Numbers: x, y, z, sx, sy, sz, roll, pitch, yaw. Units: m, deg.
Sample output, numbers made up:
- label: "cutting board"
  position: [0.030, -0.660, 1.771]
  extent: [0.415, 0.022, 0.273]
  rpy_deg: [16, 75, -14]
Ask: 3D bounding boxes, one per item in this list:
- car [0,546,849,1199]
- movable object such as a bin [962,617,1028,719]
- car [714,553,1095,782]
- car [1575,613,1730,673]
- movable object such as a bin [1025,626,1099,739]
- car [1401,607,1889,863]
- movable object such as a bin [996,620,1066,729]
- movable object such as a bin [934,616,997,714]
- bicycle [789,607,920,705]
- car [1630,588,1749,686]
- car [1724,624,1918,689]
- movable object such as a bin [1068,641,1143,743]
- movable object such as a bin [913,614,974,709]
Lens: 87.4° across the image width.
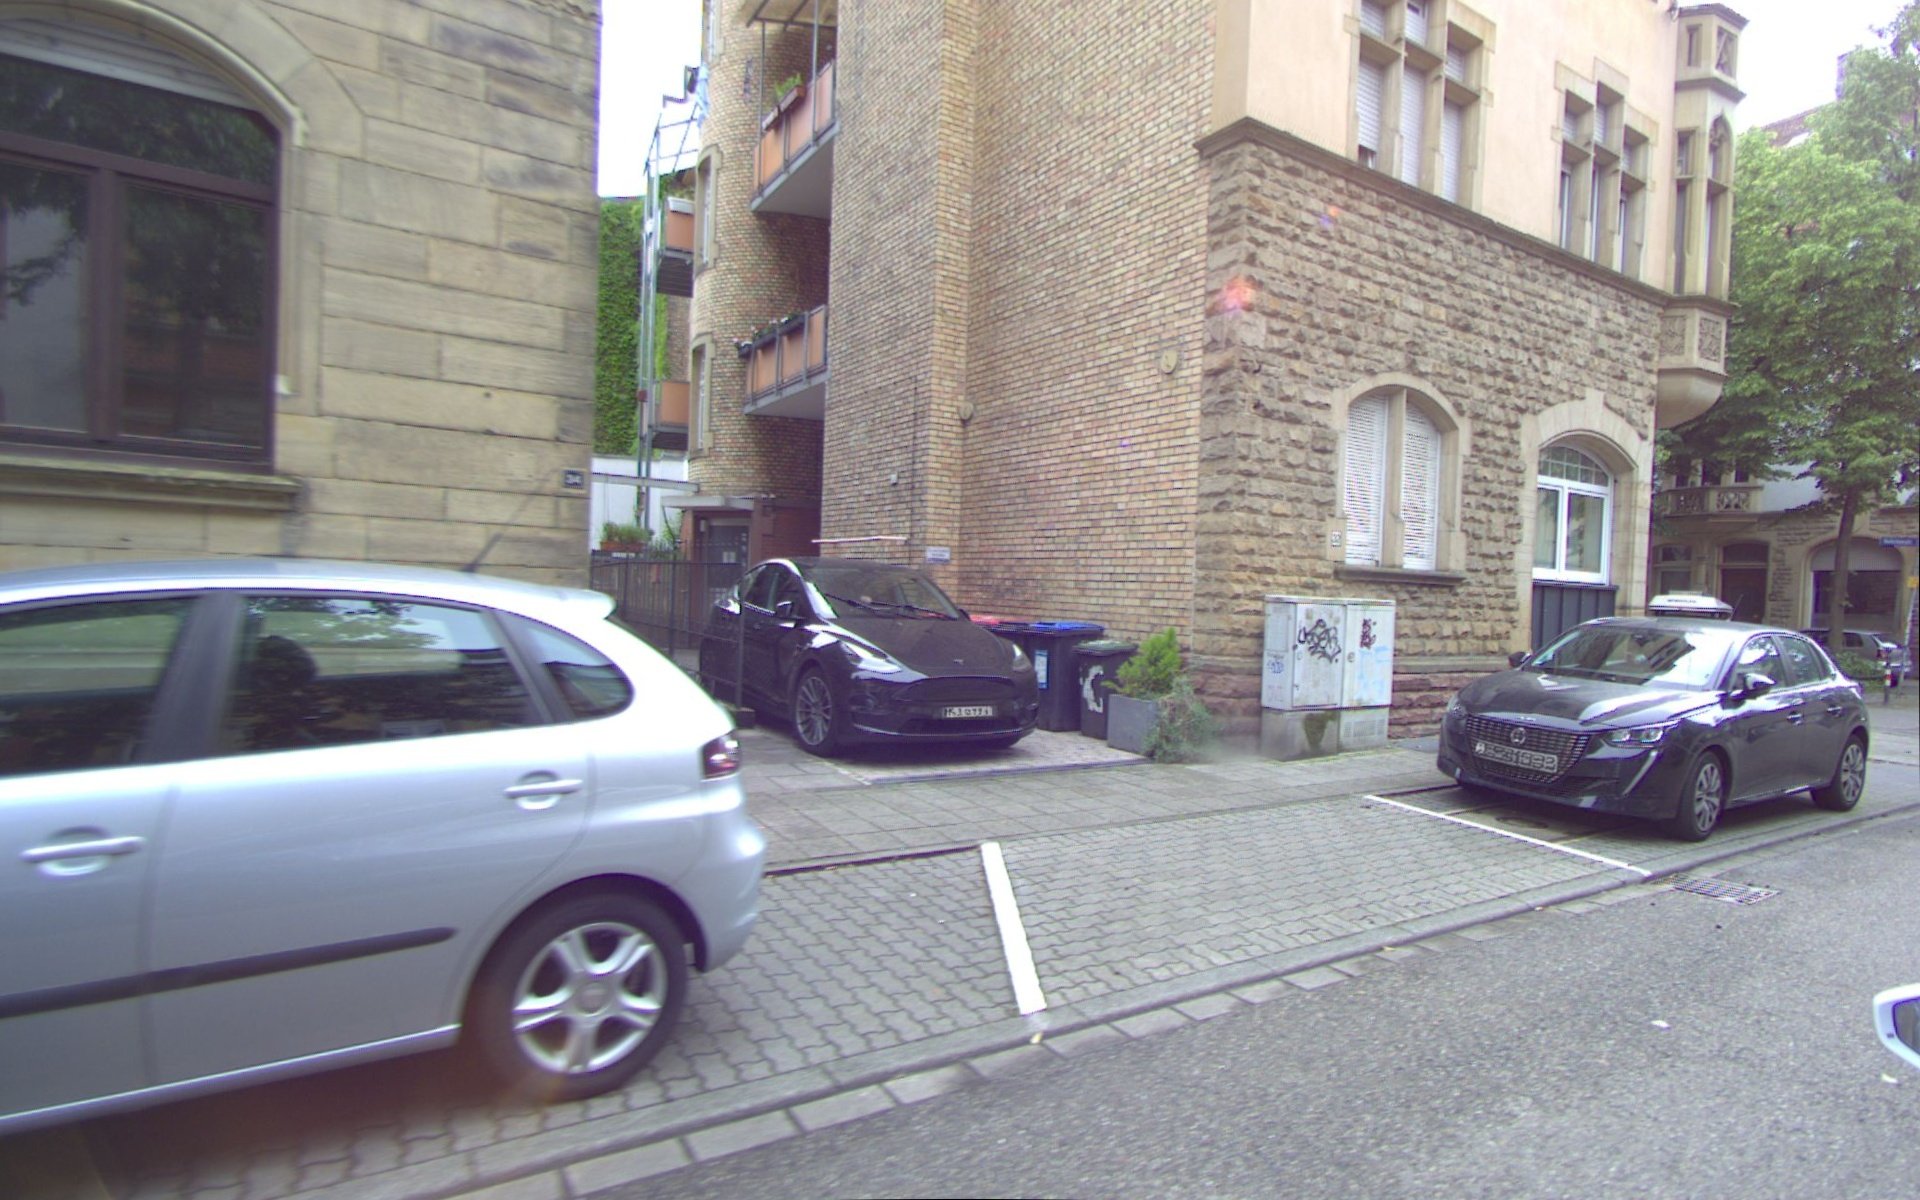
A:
- label: "car"
  position: [-2.360, 0.603, 2.725]
  extent: [3.770, 1.453, 1.579]
  rpy_deg: [1, 2, -34]
- label: "movable object such as a bin"
  position: [0.385, 0.733, 11.001]
  extent: [0.545, 1.077, 0.437]
  rpy_deg: [2, 1, -32]
- label: "car"
  position: [-0.736, 0.439, 9.113]
  extent: [1.748, 1.585, 3.965]
  rpy_deg: [2, 1, -32]
- label: "car"
  position: [20.970, 1.271, 30.554]
  extent: [1.626, 1.479, 3.481]
  rpy_deg: [3, 1, -23]
- label: "movable object such as a bin"
  position: [1.018, 0.809, 10.045]
  extent: [0.545, 1.077, 0.437]
  rpy_deg: [2, 1, -32]
- label: "car"
  position: [5.407, 0.860, 7.830]
  extent: [3.839, 1.453, 1.717]
  rpy_deg: [1, 2, -33]
- label: "movable object such as a bin"
  position: [0.741, 0.764, 10.480]
  extent: [0.545, 1.077, 0.437]
  rpy_deg: [2, 1, -32]
- label: "movable object such as a bin"
  position: [0.058, 0.735, 11.488]
  extent: [0.545, 1.077, 0.437]
  rpy_deg: [2, 1, -32]
- label: "bicycle"
  position: [-1.465, 0.687, 13.324]
  extent: [0.570, 1.106, 2.629]
  rpy_deg: [2, 1, -33]
- label: "car"
  position: [16.694, 0.793, 22.912]
  extent: [1.806, 1.994, 3.941]
  rpy_deg: [2, 1, 41]
- label: "car"
  position: [22.674, 1.422, 26.602]
  extent: [1.626, 1.480, 3.560]
  rpy_deg: [0, 0, -23]
- label: "movable object such as a bin"
  position: [1.394, 0.868, 9.627]
  extent: [0.545, 0.916, 0.412]
  rpy_deg: [2, 1, -32]
- label: "movable object such as a bin"
  position: [-0.201, 0.723, 11.915]
  extent: [0.545, 1.077, 0.437]
  rpy_deg: [2, 1, -32]
